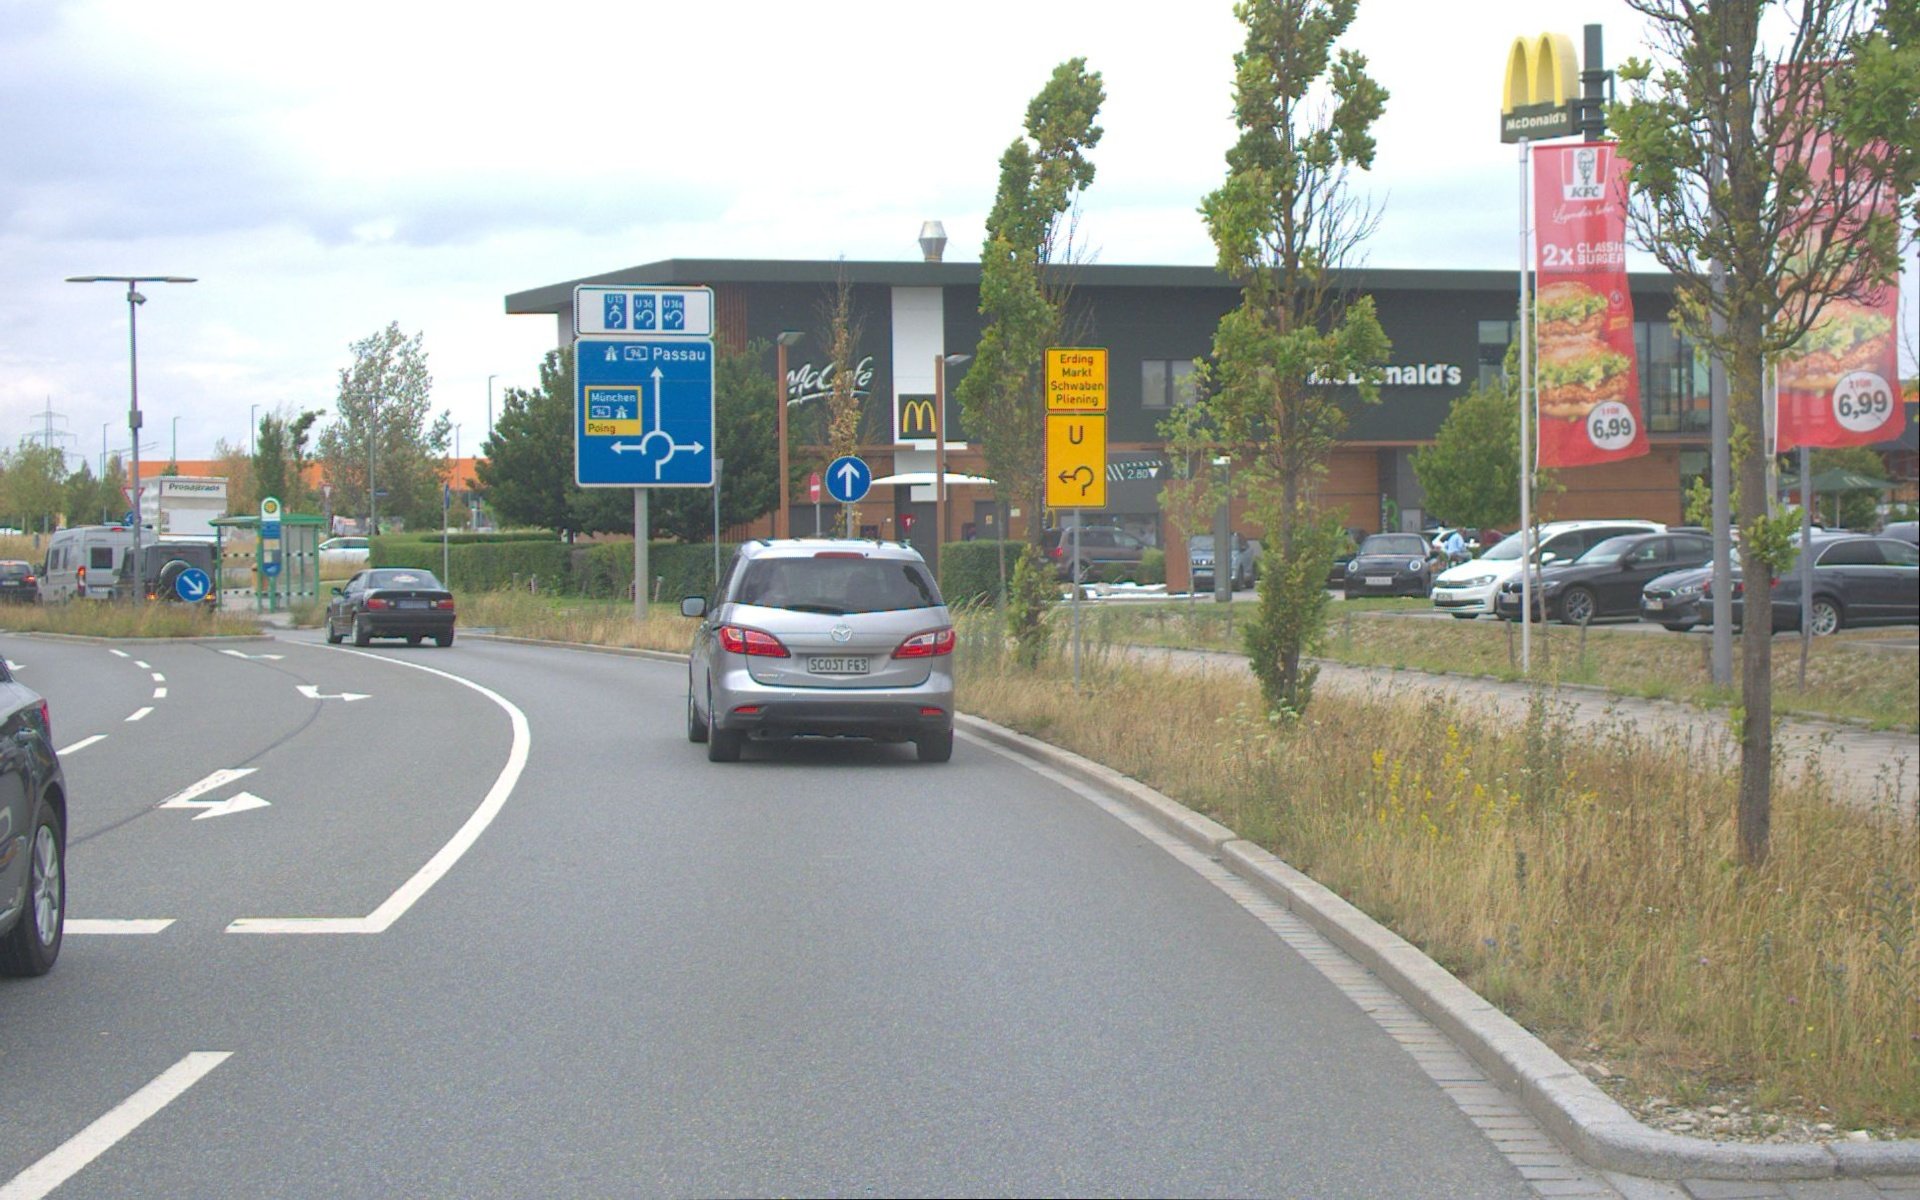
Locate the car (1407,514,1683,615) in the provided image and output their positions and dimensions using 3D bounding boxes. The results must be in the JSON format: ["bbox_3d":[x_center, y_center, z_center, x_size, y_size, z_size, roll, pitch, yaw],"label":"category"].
[{"bbox_3d":[10.169,-0.636,59.771,4.346,1.634,1.938,-1,2,-23],"label":"car"}]

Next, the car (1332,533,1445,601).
[{"bbox_3d":[8.865,-0.704,70.975,1.812,1.308,3.847,0,2,15],"label":"car"}]

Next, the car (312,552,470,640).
[{"bbox_3d":[-9.890,-0.103,59.542,1.844,1.413,4.226,-1,2,-21],"label":"car"}]

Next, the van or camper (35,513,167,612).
[{"bbox_3d":[-22.353,-0.987,89.301,2.302,2.497,5.207,-1,1,-26],"label":"van or camper"}]

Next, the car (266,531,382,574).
[{"bbox_3d":[-26.273,-1.961,141.972,4.601,1.751,2.001,-1,1,-14],"label":"car"}]

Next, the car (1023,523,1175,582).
[{"bbox_3d":[4.083,-1.408,100.910,3.986,1.711,2.000,-1,1,-24],"label":"car"}]

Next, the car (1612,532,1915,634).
[{"bbox_3d":[12.280,-0.282,52.603,4.083,1.433,1.943,-2,2,-19],"label":"car"}]

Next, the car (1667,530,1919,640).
[{"bbox_3d":[12.740,-0.242,49.659,4.516,1.464,2.033,-1,1,-17],"label":"car"}]

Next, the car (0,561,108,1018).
[{"bbox_3d":[-3.899,0.609,10.410,1.829,1.415,4.246,0,1,-4],"label":"car"}]

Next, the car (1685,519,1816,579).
[{"bbox_3d":[23.125,-1.509,100.457,1.998,1.716,3.990,1,1,43],"label":"car"}]

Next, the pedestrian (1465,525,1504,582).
[{"bbox_3d":[13.278,-1.185,87.096,0.769,1.434,0.623,0,1,35],"label":"pedestrian"}]

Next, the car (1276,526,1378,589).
[{"bbox_3d":[10.248,-1.185,95.746,2.117,1.711,4.227,0,1,16],"label":"car"}]

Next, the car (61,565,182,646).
[{"bbox_3d":[-19.742,0.093,80.788,2.058,1.819,4.787,-1,1,-22],"label":"car"}]

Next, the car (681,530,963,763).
[{"bbox_3d":[-1.095,0.292,25.497,1.729,1.594,3.808,0,1,-8],"label":"car"}]

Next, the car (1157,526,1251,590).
[{"bbox_3d":[6.664,-1.156,93.669,1.994,1.711,3.998,0,1,13],"label":"car"}]

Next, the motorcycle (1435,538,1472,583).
[{"bbox_3d":[13.798,-1.115,96.039,0.857,1.240,1.965,0,1,13],"label":"motorcycle"}]

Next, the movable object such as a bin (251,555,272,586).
[{"bbox_3d":[-17.951,-0.749,88.330,0.456,0.795,0.380,-1,1,-25],"label":"movable object such as a bin"}]

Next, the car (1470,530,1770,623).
[{"bbox_3d":[11.010,-0.412,57.395,4.466,1.431,2.074,-1,2,-20],"label":"car"}]

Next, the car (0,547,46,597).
[{"bbox_3d":[-29.549,-0.881,106.956,1.993,1.510,4.001,-1,1,-13],"label":"car"}]

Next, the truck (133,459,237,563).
[{"bbox_3d":[-30.170,-3.408,133.581,3.132,3.893,9.338,-1,1,-17],"label":"truck"}]

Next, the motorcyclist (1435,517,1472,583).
[{"bbox_3d":[13.791,-1.404,96.049,0.961,1.826,0.845,0,1,14],"label":"motorcyclist"}]

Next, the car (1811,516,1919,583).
[{"bbox_3d":[24.090,-1.295,87.254,4.721,1.651,1.999,-1,1,16],"label":"car"}]
